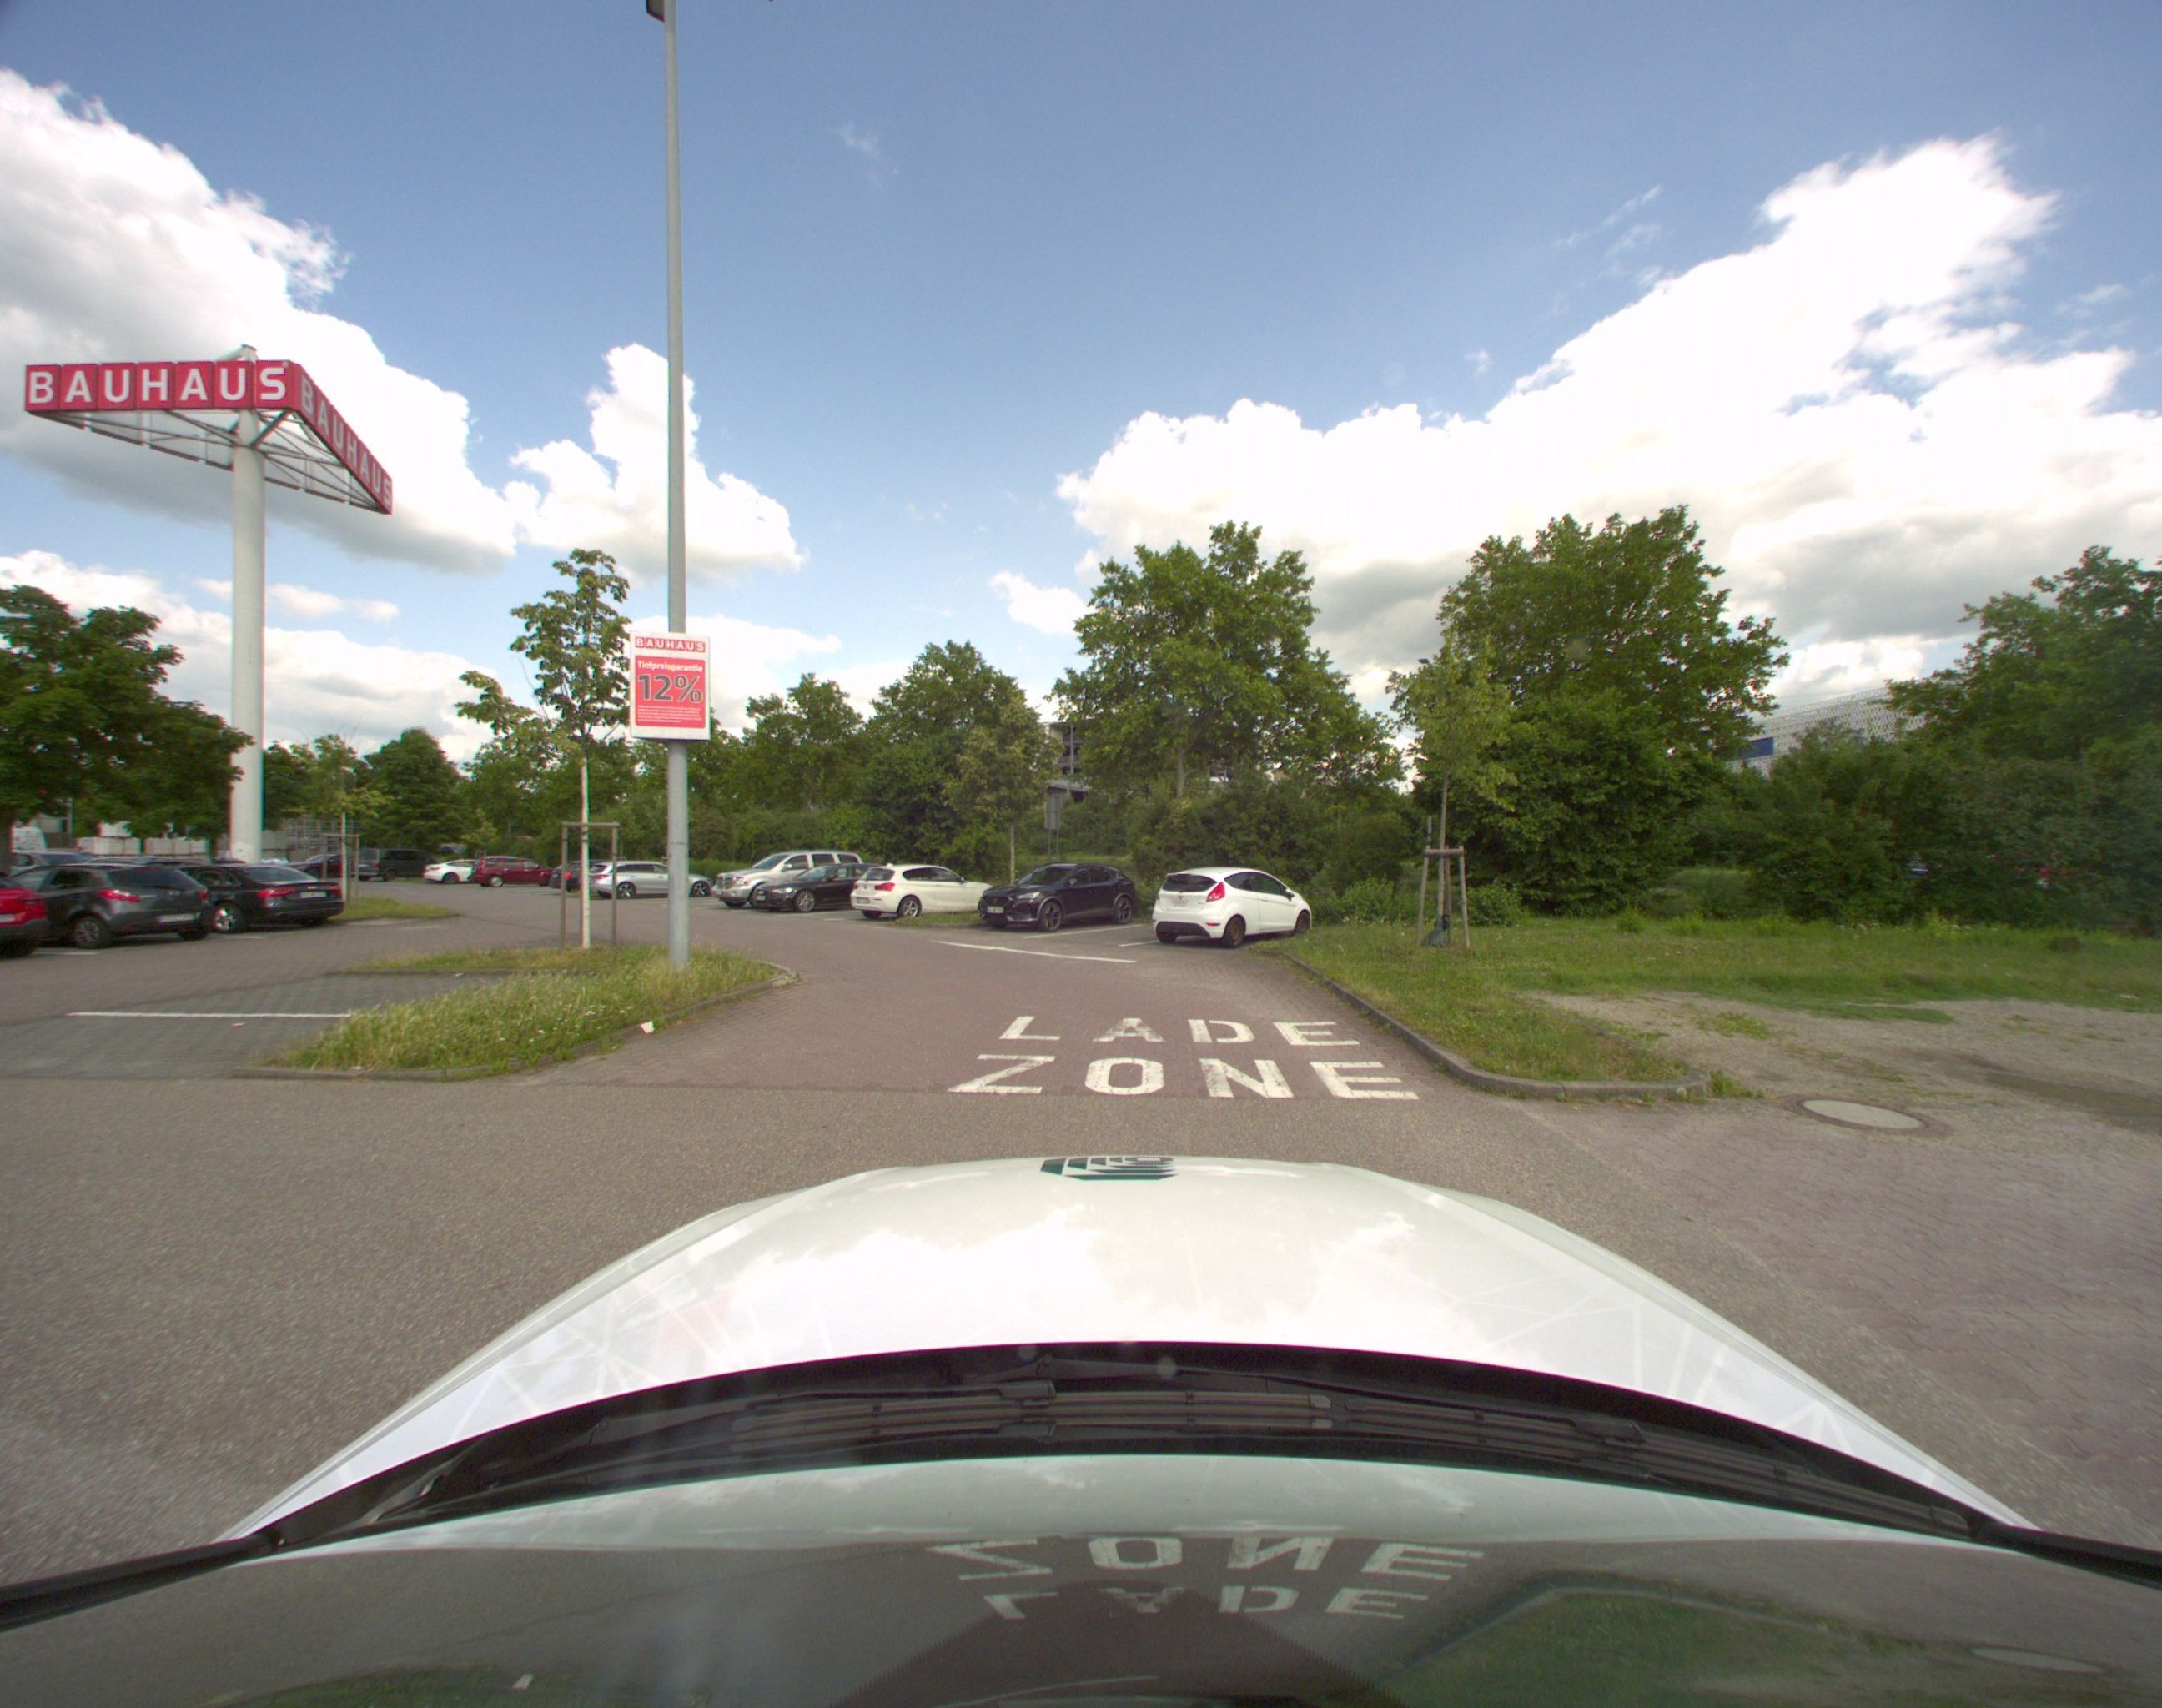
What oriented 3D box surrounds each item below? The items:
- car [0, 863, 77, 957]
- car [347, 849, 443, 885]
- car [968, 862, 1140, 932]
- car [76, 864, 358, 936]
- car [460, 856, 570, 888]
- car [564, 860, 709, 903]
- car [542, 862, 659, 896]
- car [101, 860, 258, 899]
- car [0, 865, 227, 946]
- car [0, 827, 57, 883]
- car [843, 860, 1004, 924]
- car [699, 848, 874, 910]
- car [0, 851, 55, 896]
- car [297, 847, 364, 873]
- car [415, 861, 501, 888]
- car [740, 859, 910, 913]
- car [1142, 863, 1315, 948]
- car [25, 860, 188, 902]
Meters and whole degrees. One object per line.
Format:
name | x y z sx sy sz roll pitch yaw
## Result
car | -18.325 0.851 12.370 4.059 1.399 1.768 0 0 2
car | -40.994 0.812 48.822 1.929 2.019 4.067 -1 -2 9
car | -0.518 0.932 19.276 1.711 1.410 4.269 0 0 39
car | -18.464 0.943 17.511 4.504 1.432 1.775 0 0 6
car | -29.787 0.907 42.945 1.974 1.596 4.348 0 0 37
car | -17.329 1.018 31.982 1.762 1.504 4.684 0 0 38
car | -20.789 1.109 35.393 1.677 1.381 4.025 -3 -3 38
car | -34.947 0.974 31.650 4.063 1.439 1.828 0 0 0
car | -18.261 0.892 14.774 3.970 1.369 1.581 0 0 3
car | -51.068 0.030 37.797 4.691 2.510 2.055 1 -1 4
car | -4.162 0.954 22.035 1.669 1.509 4.107 -1 -1 41
car | -9.548 0.741 26.819 1.965 1.842 5.180 0 0 38
car | -40.154 0.703 29.369 3.971 1.596 1.912 0 0 2
car | -45.977 0.382 49.947 1.341 1.432 2.698 -1 -3 13
car | -35.992 1.159 47.085 1.613 1.468 3.667 -2 -2 39
car | -7.756 0.907 25.100 1.816 1.451 4.754 0 0 40
car | 2.961 0.919 15.953 1.649 1.411 3.579 0 0 44
car | -34.866 0.948 29.207 3.748 1.446 1.725 0 0 0
